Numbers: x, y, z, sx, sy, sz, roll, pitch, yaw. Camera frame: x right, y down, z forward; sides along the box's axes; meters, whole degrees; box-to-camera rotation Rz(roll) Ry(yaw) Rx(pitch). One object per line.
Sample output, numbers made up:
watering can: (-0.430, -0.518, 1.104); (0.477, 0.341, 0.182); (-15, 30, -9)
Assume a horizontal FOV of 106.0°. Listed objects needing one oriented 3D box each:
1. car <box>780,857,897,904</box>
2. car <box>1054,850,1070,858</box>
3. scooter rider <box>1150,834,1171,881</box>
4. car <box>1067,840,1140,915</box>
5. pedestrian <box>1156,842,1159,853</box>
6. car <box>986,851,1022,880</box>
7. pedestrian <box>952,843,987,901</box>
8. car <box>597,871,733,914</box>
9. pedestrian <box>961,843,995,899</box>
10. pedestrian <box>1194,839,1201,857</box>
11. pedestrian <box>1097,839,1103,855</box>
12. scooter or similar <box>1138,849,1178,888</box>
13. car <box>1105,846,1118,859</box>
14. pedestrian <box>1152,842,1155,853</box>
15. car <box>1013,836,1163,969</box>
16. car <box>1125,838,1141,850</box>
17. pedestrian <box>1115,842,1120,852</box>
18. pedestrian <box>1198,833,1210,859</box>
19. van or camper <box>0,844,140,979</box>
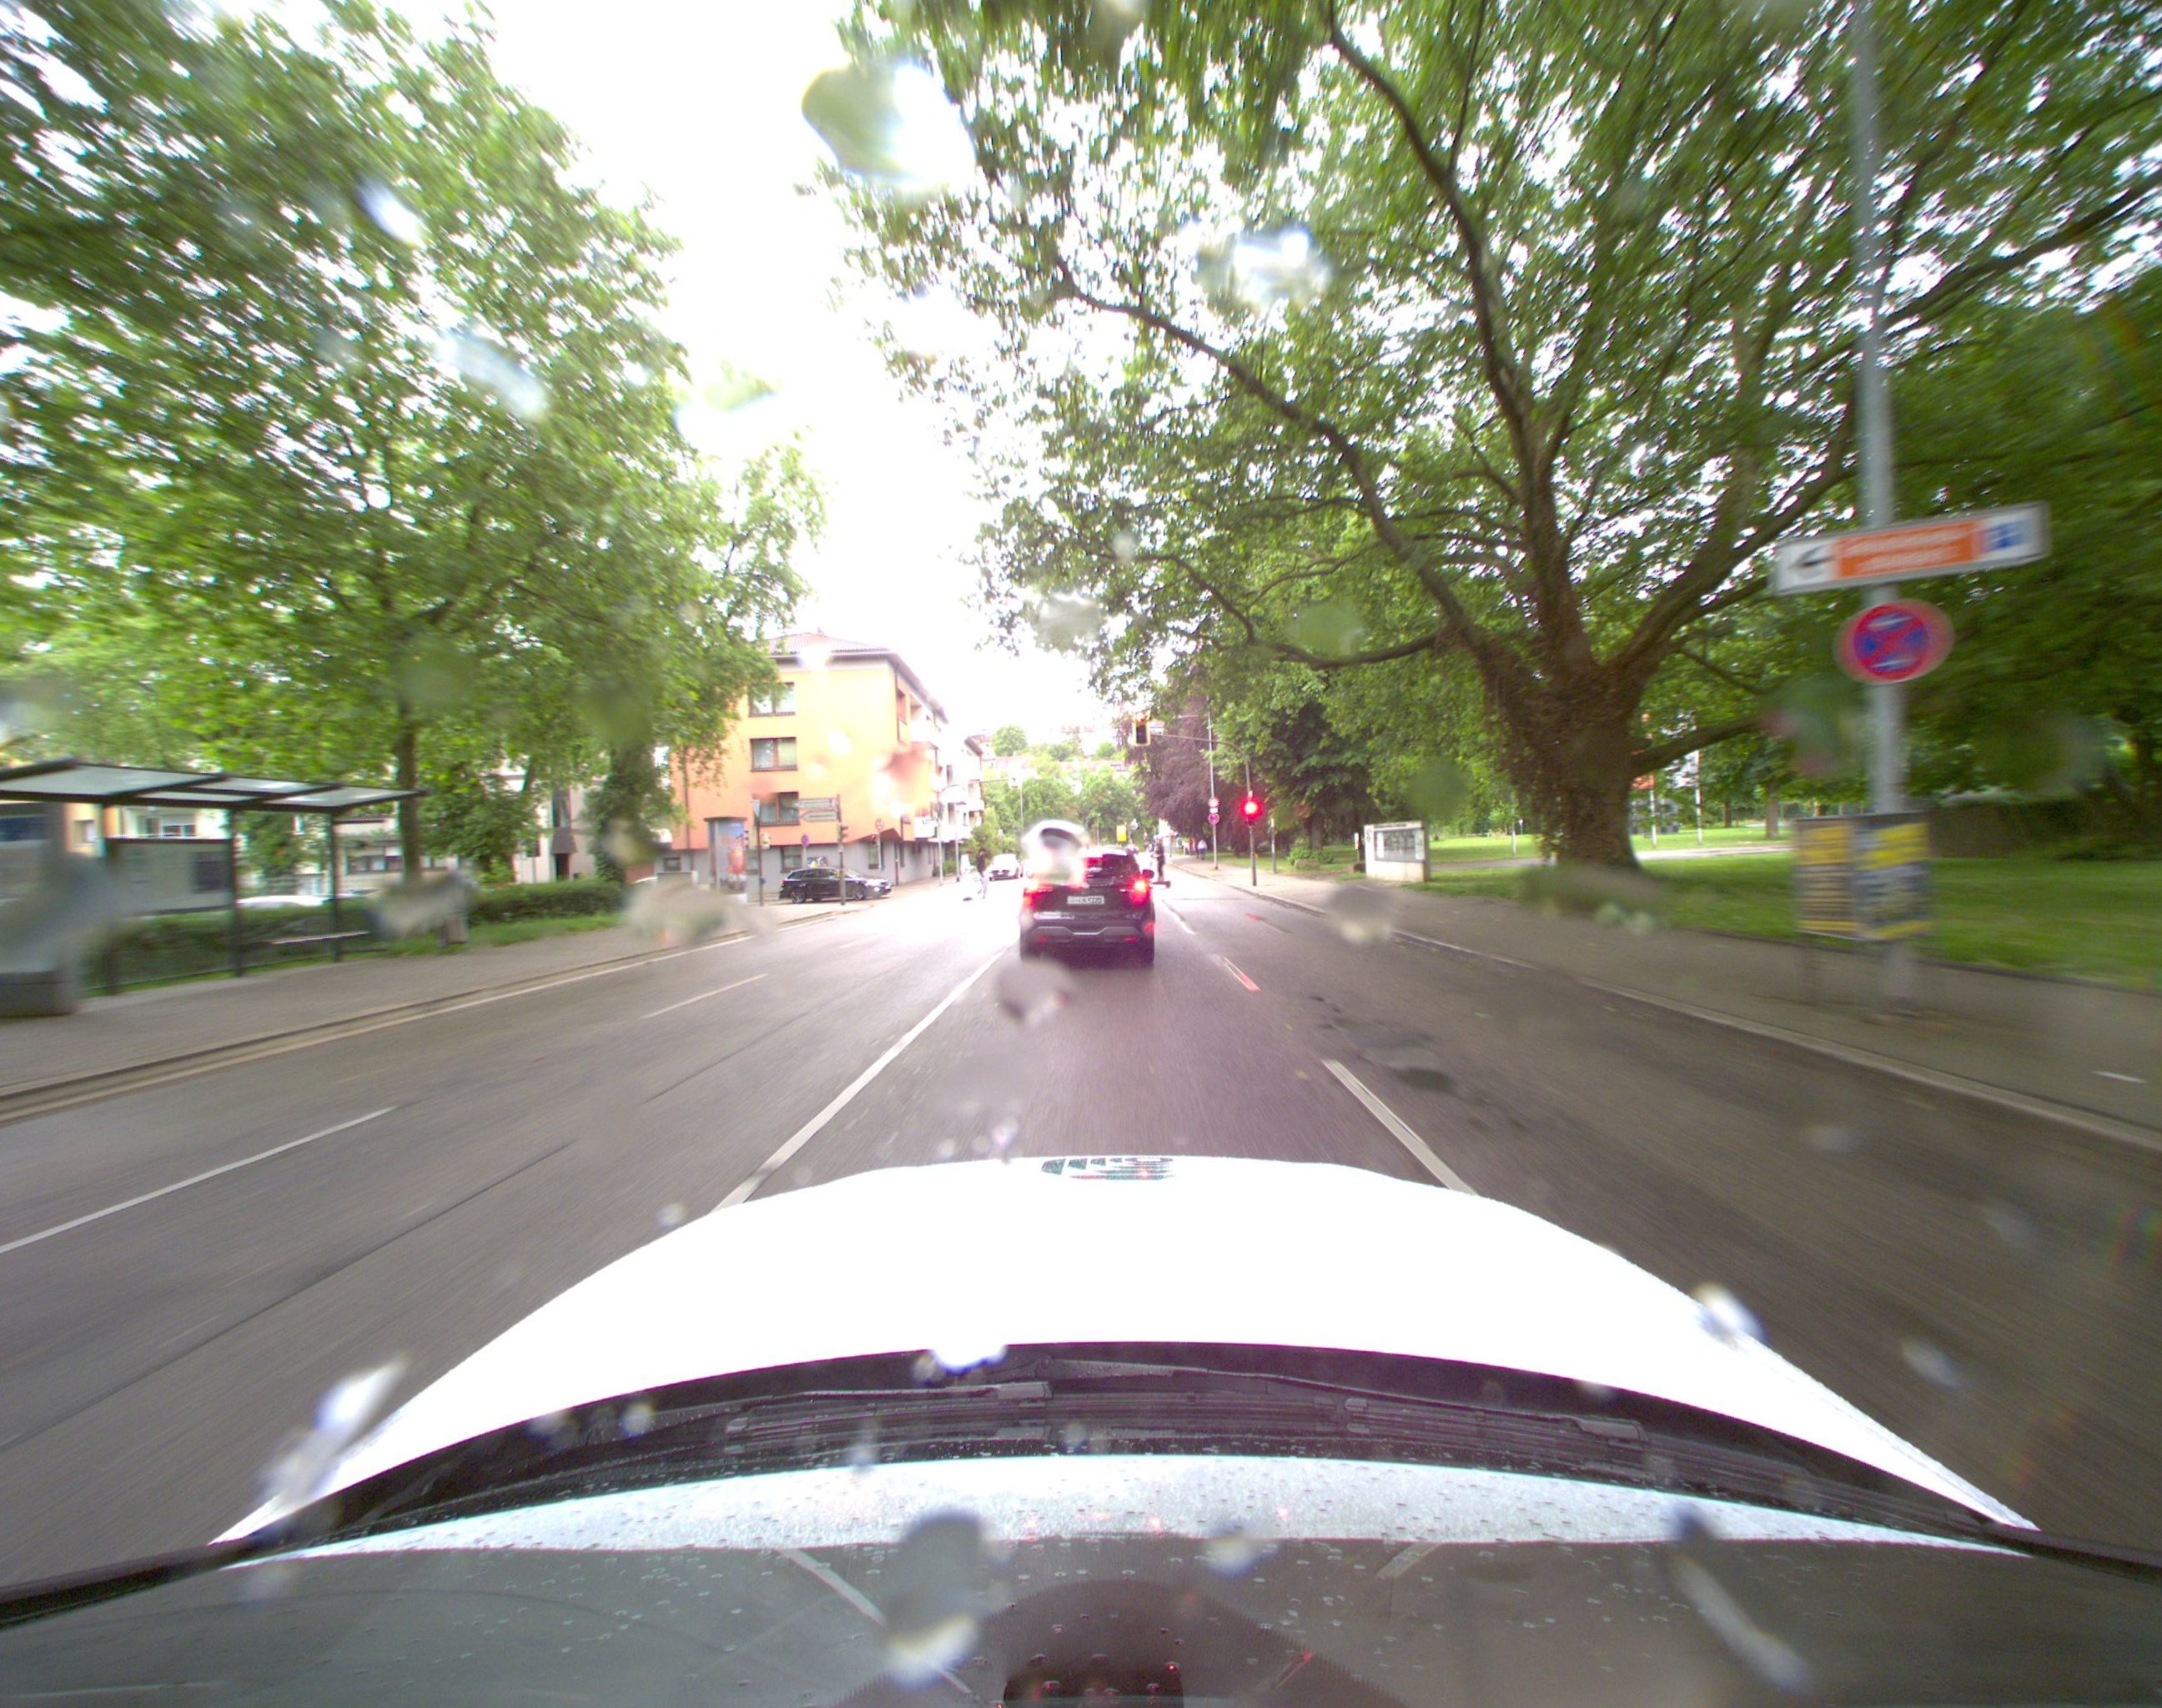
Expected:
car: (-9.854, 1.059, 33.266); (4.101, 1.625, 1.856); (-3, 0, 7)
car: (-4.391, -0.036, 183.717); (3.470, 1.585, 1.639); (-3, 0, -5)
scooter rider: (3.105, 0.148, 31.663); (0.638, 1.766, 0.738); (-2, -1, 14)
car: (0.614, 0.556, 21.798); (1.692, 1.745, 3.642); (-3, 0, 2)
pedestrian: (12.958, -1.056, 137.815); (0.507, 1.802, 0.619); (-3, 0, 1)
car: (-4.529, 0.641, 48.387); (1.791, 1.533, 3.865); (-3, 0, -2)
pedestrian: (-3.789, 0.594, 27.739); (1.035, 1.876, 0.656); (-4, 0, -9)
car: (-17.216, 1.566, 33.823); (4.617, 1.403, 1.833); (-3, 0, 2)
pedestrian: (-3.607, 0.594, 28.562); (1.035, 1.876, 0.656); (-4, 0, -9)
pedestrian: (9.829, -0.505, 68.725); (0.388, 1.502, 0.559); (-3, 0, 2)
pedestrian: (2.146, -0.788, 90.492); (0.507, 1.802, 0.618); (-3, 0, -5)
scooter or similar: (3.005, 0.557, 31.657); (1.384, 1.446, 0.820); (-2, -1, 14)
car: (3.986, -0.204, 105.923); (1.628, 1.532, 3.969); (-3, 0, 2)
pedestrian: (12.255, -1.147, 137.575); (0.506, 1.802, 0.620); (-3, 0, 2)
car: (0.160, 0.608, 12.431); (1.906, 1.680, 4.002); (-1, 0, 2)
car: (7.262, -1.368, 113.963); (1.983, 1.735, 4.008); (0, 0, 7)
pedestrian: (6.363, -1.165, 142.458); (0.503, 1.673, 0.663); (-3, 0, 29)
pedestrian: (9.744, -0.630, 64.641); (0.722, 2.013, 0.852); (-3, 0, 2)
van or camper: (-17.885, 0.923, 12.418); (4.582, 1.949, 2.000); (-3, 0, -1)
